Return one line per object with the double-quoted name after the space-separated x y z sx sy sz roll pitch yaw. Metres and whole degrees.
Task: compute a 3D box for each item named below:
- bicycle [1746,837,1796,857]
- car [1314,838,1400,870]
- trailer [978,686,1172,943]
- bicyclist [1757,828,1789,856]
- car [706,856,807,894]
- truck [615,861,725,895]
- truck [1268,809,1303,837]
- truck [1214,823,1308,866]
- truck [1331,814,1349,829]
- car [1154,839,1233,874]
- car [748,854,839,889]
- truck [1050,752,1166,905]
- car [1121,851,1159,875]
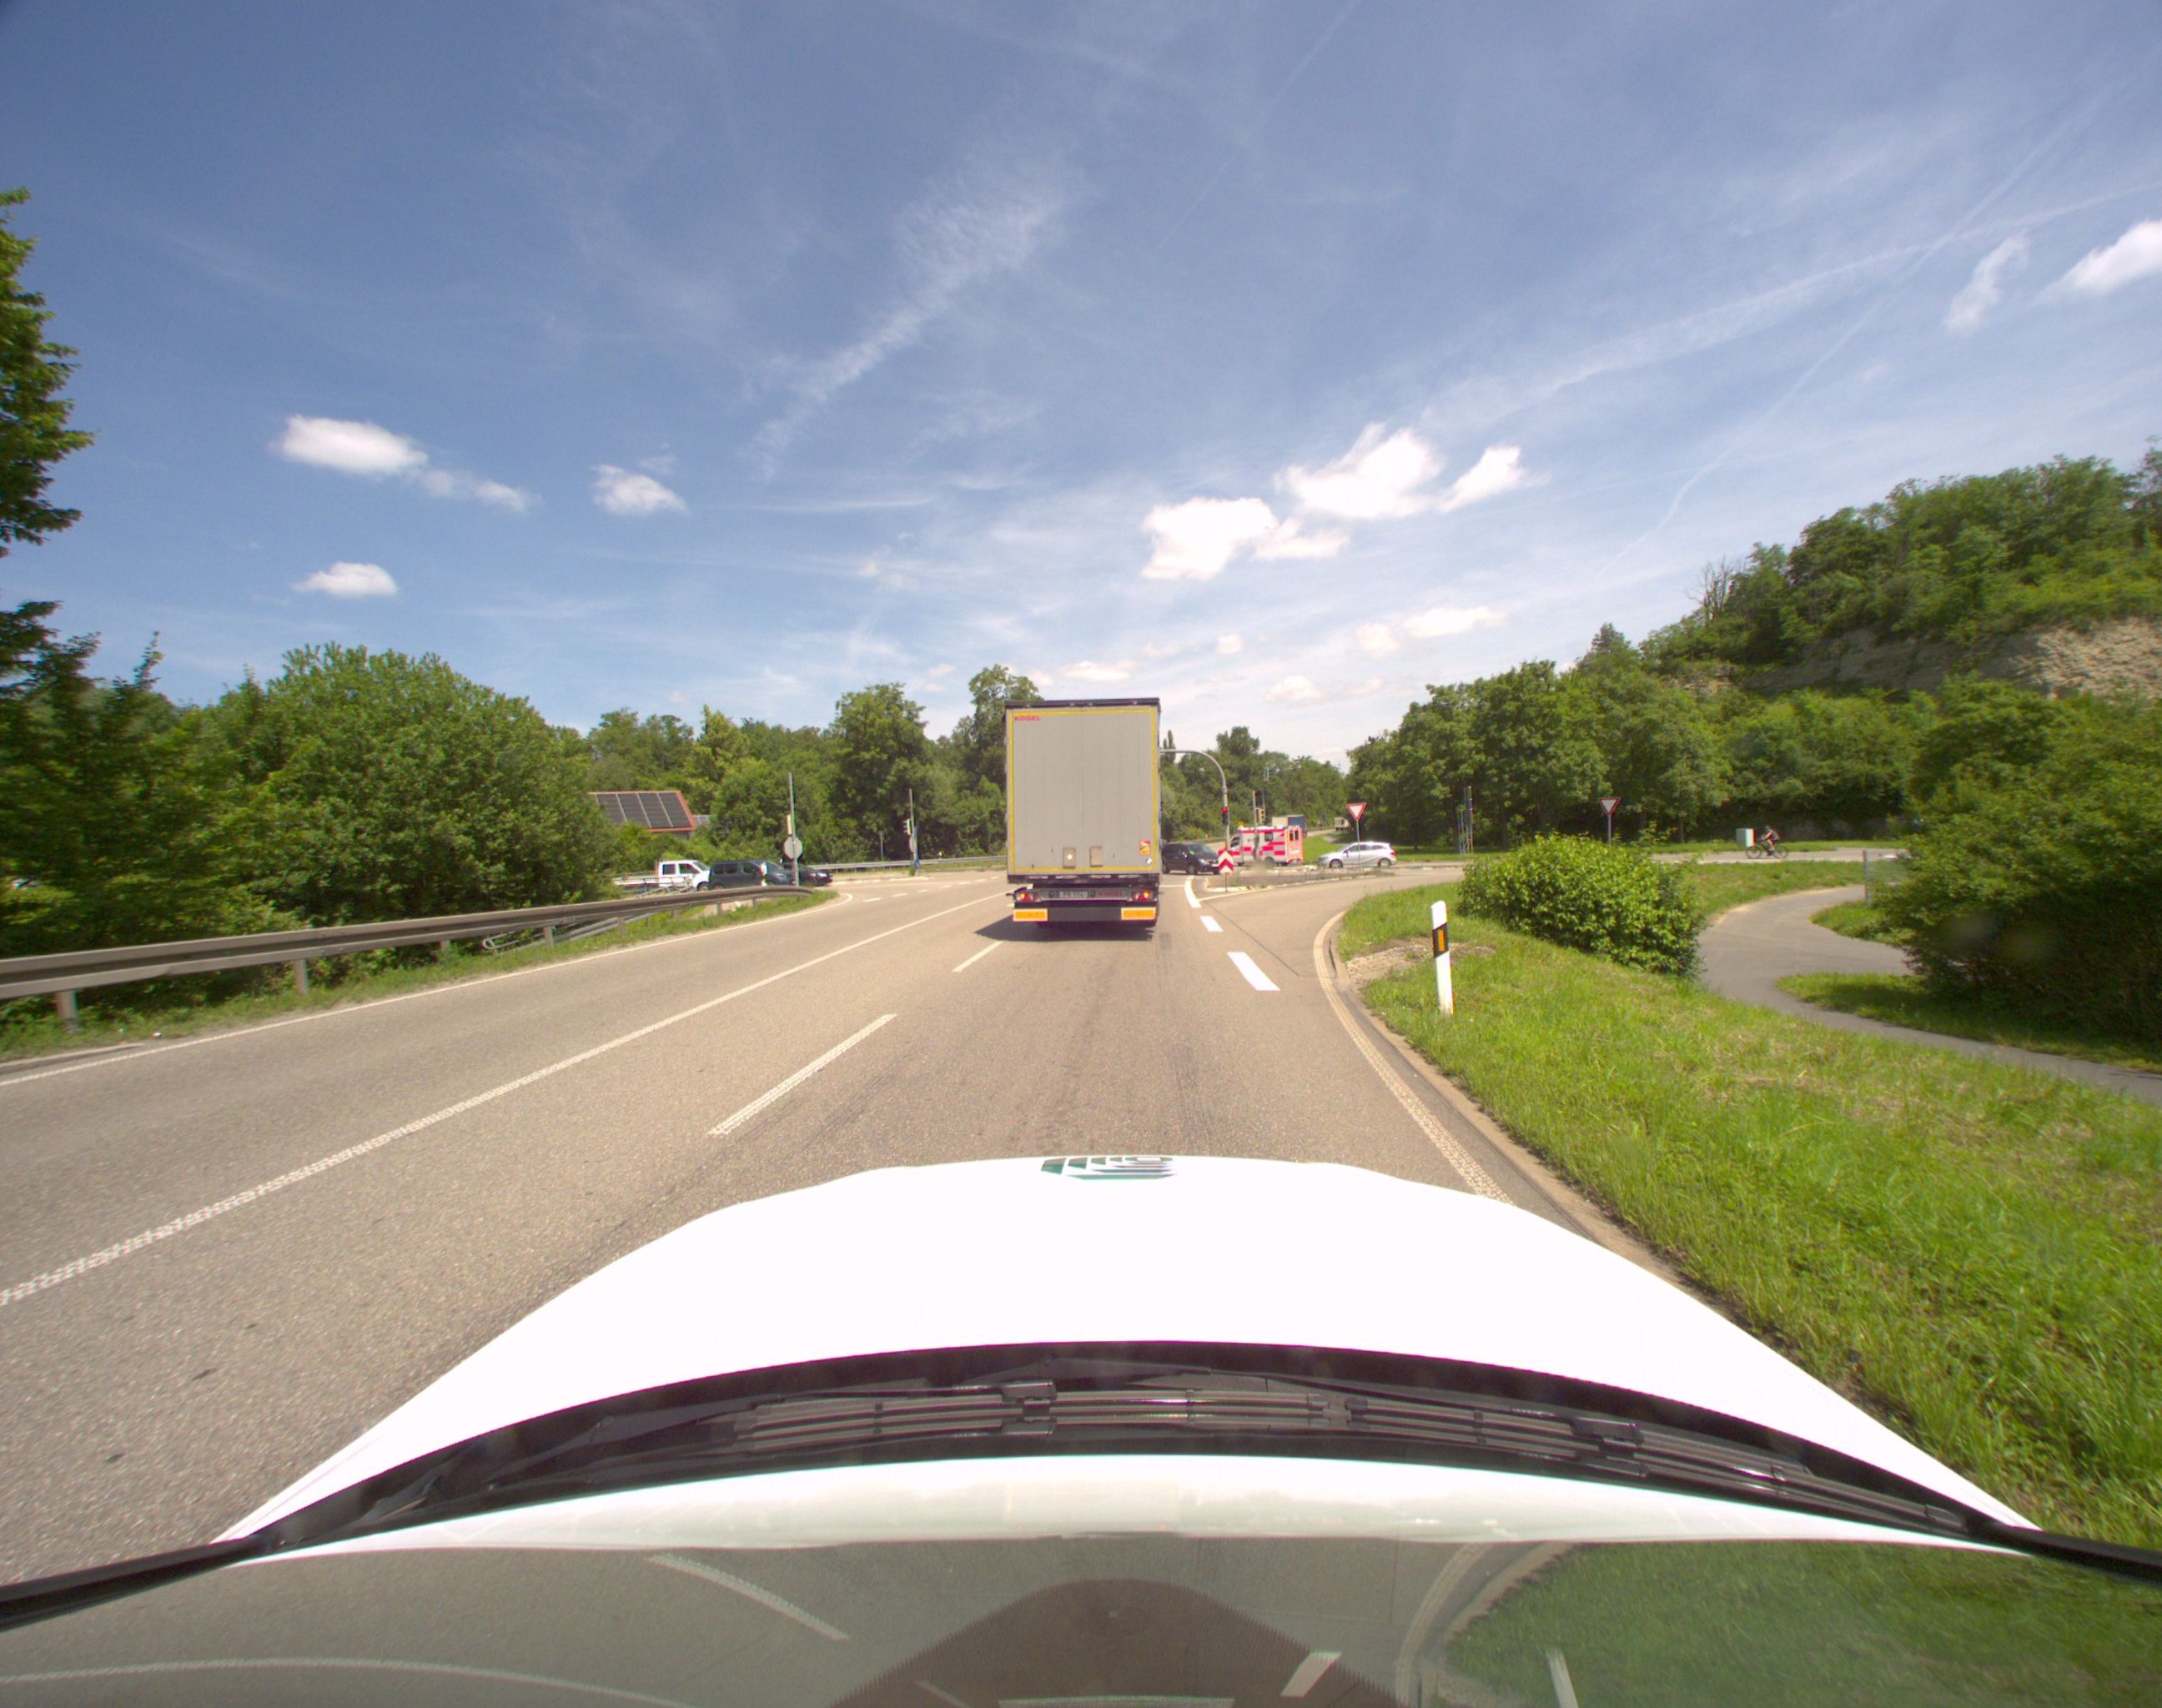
36.724 -0.373 43.386 1.982 0.995 0.797 0 -2 0 "bicycle"
15.822 0.025 46.886 4.403 1.718 2.004 0 -2 7 "car"
0.467 -0.669 19.251 3.037 4.033 12.577 -1 0 5 "trailer"
36.854 -0.642 43.355 1.002 1.448 0.795 0 -2 0 "bicyclist"
-16.054 1.018 40.416 4.205 1.770 2.007 -1 0 12 "car"
-21.990 1.274 43.759 4.875 1.791 2.036 0 -2 -10 "truck"
33.690 -5.004 133.525 3.150 4.029 11.813 -1 -1 26 "truck"
12.341 -0.590 56.210 2.515 2.728 5.957 1 -2 -43 "truck"
55.350 -6.925 173.929 2.829 2.948 7.145 -1 0 24 "truck"
6.103 0.183 44.794 2.003 1.785 4.901 1 -2 -25 "car"
-15.678 0.944 44.540 4.205 1.770 2.007 -1 0 12 "car"
1.023 -0.725 25.216 3.023 4.033 6.639 -1 1 5 "truck"
3.745 0.636 52.719 1.989 1.491 4.253 0 -2 -2 "car"
